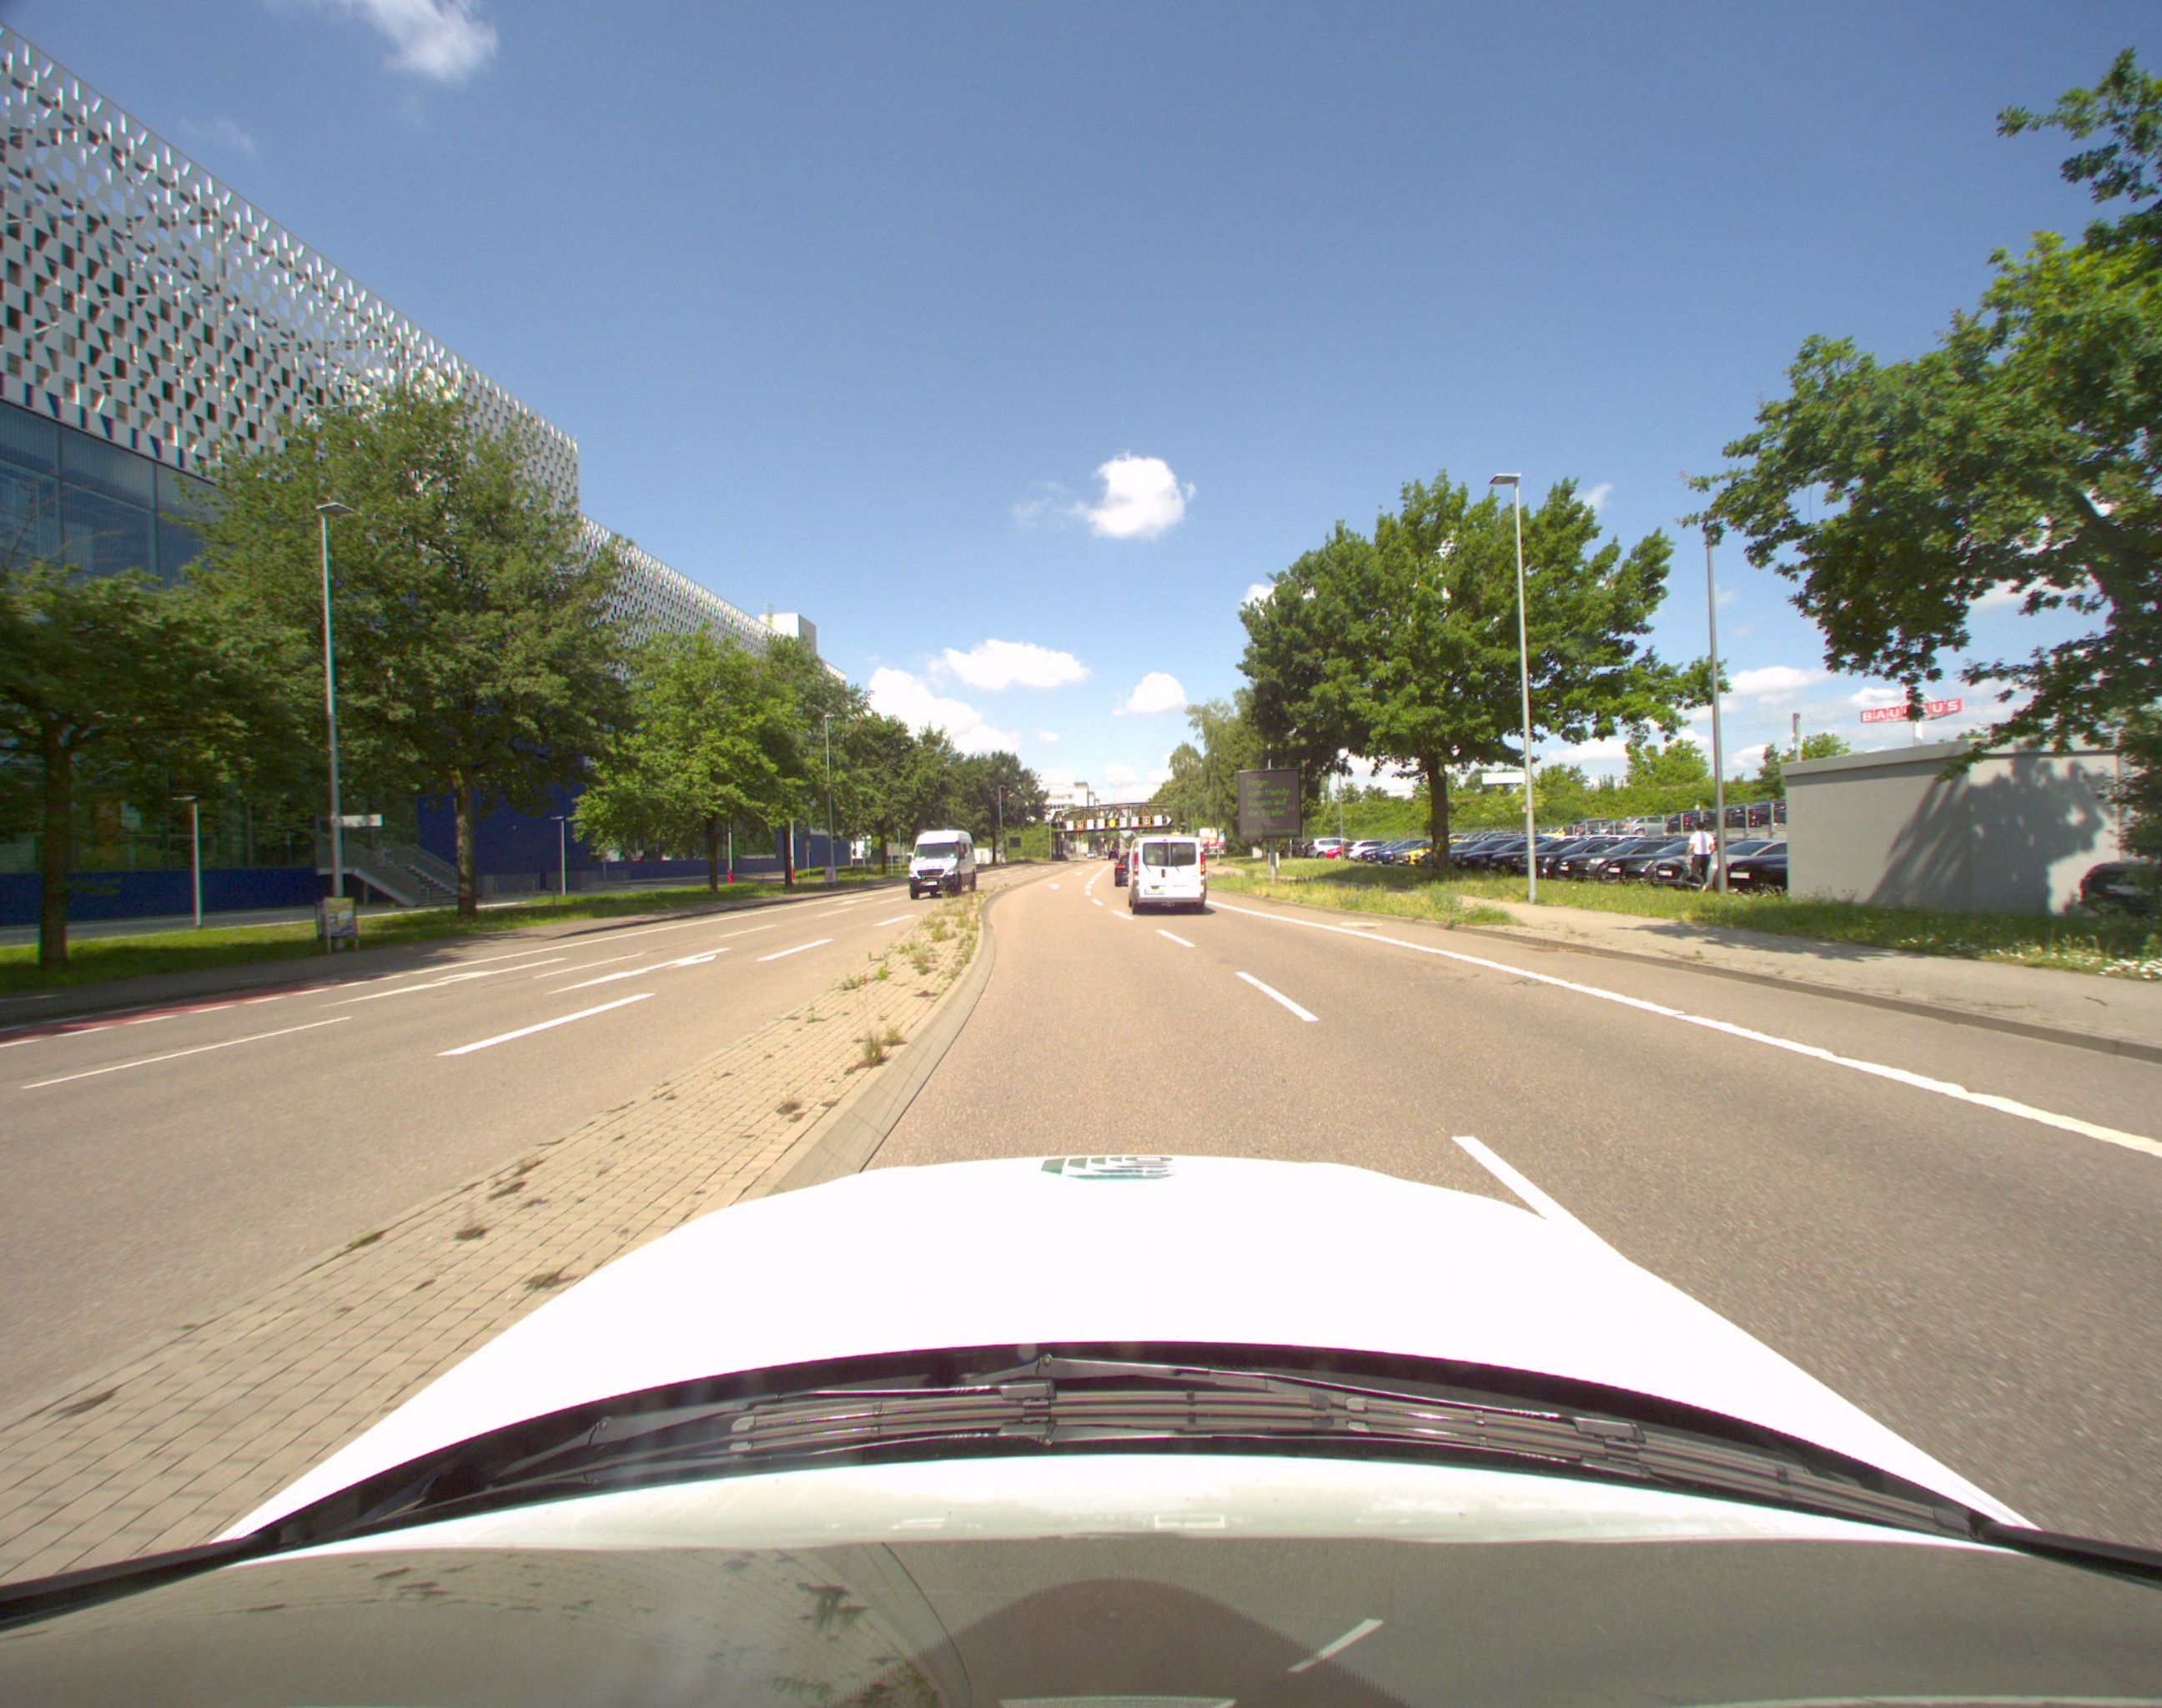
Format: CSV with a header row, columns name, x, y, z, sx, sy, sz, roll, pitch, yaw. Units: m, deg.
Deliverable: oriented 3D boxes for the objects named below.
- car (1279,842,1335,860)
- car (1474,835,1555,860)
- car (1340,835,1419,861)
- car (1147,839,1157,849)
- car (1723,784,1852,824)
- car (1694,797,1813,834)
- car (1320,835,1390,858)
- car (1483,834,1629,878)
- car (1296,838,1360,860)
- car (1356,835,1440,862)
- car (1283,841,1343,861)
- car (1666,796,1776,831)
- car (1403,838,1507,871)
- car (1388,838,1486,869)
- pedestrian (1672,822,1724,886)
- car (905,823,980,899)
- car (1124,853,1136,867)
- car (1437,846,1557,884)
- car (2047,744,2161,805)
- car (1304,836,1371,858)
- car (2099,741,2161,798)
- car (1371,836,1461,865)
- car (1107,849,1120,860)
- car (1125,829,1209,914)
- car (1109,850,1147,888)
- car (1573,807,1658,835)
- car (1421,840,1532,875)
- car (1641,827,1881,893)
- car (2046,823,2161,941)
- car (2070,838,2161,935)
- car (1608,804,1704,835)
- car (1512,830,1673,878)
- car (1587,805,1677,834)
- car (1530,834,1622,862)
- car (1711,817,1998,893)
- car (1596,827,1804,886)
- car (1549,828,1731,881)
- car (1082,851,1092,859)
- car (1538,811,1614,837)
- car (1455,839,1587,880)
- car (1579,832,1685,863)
name,x,y,z,sx,sy,sz,roll,pitch,yaw
car,19.522,-0.266,70.539,4.338,1.512,1.937,-1,2,2
car,28.643,-0.442,53.900,4.328,1.499,1.909,-2,0,3
car,18.820,-0.369,51.481,4.338,1.512,1.937,-1,2,2
car,19.012,-2.686,218.216,2.364,2.475,4.774,-2,0,9
car,33.736,-2.361,39.006,4.332,1.774,1.940,-1,2,6
car,34.028,-1.941,41.320,4.332,1.774,1.940,-1,2,6
car,19.278,-0.559,57.409,4.338,1.512,1.937,-1,2,2
car,17.625,0.056,30.366,4.338,1.512,1.937,-1,2,2
car,18.915,-0.403,62.473,4.338,1.512,1.937,-1,2,2
car,18.948,-0.327,48.859,4.338,1.512,1.937,-1,2,2
car,18.977,-0.242,66.732,4.338,1.512,1.937,-1,2,2
car,34.413,-2.168,43.898,4.332,1.774,1.940,-1,2,6
car,18.677,0.011,40.784,4.338,1.512,1.937,-1,2,2
car,18.817,-0.038,43.187,4.338,1.512,1.937,-1,2,2
pedestrian,14.305,-0.009,18.887,0.630,1.459,0.773,-1,2,2
car,-5.764,0.256,34.733,2.017,2.893,6.380,-2,0,0
car,7.974,0.961,132.342,1.985,2.013,4.005,-2,0,4
car,18.248,0.469,35.851,4.338,1.512,1.937,-1,2,2
car,33.882,-2.500,25.638,4.332,1.774,1.940,-1,2,6
car,18.834,-0.514,59.890,4.338,1.512,1.937,-1,2,2
car,32.713,-2.447,23.345,4.332,1.551,1.940,-1,2,6
car,18.848,-0.228,45.927,4.338,1.512,1.937,-1,2,2
car,5.757,0.073,142.977,1.984,1.771,4.006,-1,2,5
car,2.243,0.382,22.297,1.965,2.059,4.568,-1,1,3
car,2.275,0.691,40.055,1.767,1.629,4.003,-1,1,2
car,35.105,-2.162,53.579,4.332,1.774,1.940,-1,2,6
car,18.537,0.133,38.323,4.338,1.512,1.937,-1,2,2
car,16.835,0.111,20.345,4.338,1.512,1.937,-1,2,2
car,16.094,0.297,10.731,4.335,1.513,1.857,-2,0,4
car,19.223,0.458,13.028,4.335,1.513,1.857,-2,0,4
car,34.696,-2.088,49.239,4.332,1.774,1.940,-1,2,6
car,17.529,-0.036,28.073,4.338,1.512,1.937,-1,2,2
car,34.717,-2.163,51.422,4.332,1.774,1.940,-1,2,6
car,29.662,-0.336,48.943,4.328,1.499,1.909,-2,0,3
car,16.678,-0.015,17.760,4.335,1.512,1.914,-1,2,4
car,17.169,0.041,22.777,4.338,1.512,1.937,-1,2,2
car,17.248,-0.017,25.308,4.338,1.512,1.937,-1,2,2
car,1.582,0.292,206.030,1.983,2.013,4.007,-2,0,6
car,36.089,-2.175,59.486,4.332,1.774,1.940,-1,2,6
car,17.818,0.200,33.096,4.338,1.512,1.937,-1,2,2
car,29.323,-0.351,43.439,4.328,1.499,1.909,-2,0,3
